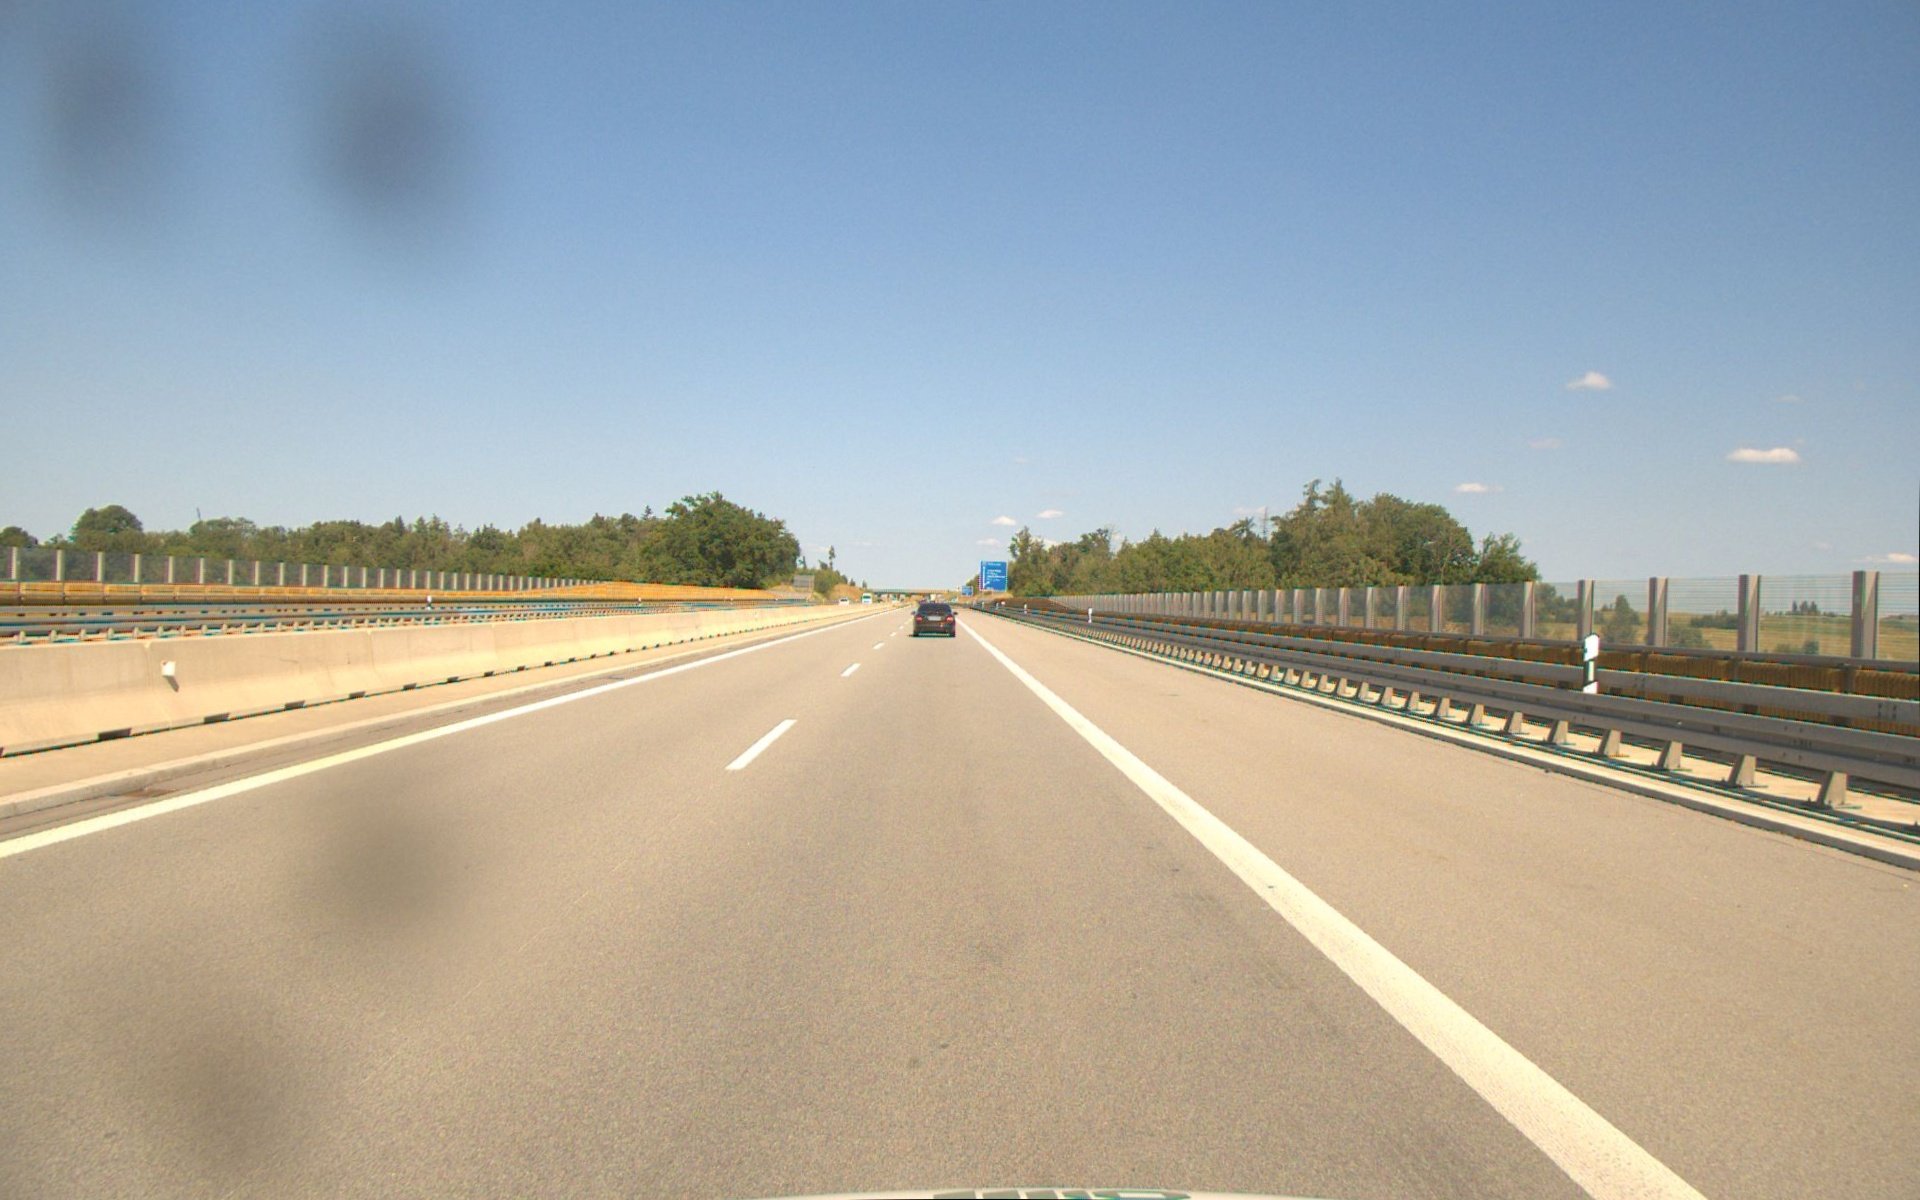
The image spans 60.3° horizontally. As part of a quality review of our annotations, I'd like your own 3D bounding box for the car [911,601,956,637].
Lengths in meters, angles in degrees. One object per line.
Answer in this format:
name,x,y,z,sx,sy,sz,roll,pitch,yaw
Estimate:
car,-1.085,0.747,67.926,1.753,1.398,3.916,1,0,-1
